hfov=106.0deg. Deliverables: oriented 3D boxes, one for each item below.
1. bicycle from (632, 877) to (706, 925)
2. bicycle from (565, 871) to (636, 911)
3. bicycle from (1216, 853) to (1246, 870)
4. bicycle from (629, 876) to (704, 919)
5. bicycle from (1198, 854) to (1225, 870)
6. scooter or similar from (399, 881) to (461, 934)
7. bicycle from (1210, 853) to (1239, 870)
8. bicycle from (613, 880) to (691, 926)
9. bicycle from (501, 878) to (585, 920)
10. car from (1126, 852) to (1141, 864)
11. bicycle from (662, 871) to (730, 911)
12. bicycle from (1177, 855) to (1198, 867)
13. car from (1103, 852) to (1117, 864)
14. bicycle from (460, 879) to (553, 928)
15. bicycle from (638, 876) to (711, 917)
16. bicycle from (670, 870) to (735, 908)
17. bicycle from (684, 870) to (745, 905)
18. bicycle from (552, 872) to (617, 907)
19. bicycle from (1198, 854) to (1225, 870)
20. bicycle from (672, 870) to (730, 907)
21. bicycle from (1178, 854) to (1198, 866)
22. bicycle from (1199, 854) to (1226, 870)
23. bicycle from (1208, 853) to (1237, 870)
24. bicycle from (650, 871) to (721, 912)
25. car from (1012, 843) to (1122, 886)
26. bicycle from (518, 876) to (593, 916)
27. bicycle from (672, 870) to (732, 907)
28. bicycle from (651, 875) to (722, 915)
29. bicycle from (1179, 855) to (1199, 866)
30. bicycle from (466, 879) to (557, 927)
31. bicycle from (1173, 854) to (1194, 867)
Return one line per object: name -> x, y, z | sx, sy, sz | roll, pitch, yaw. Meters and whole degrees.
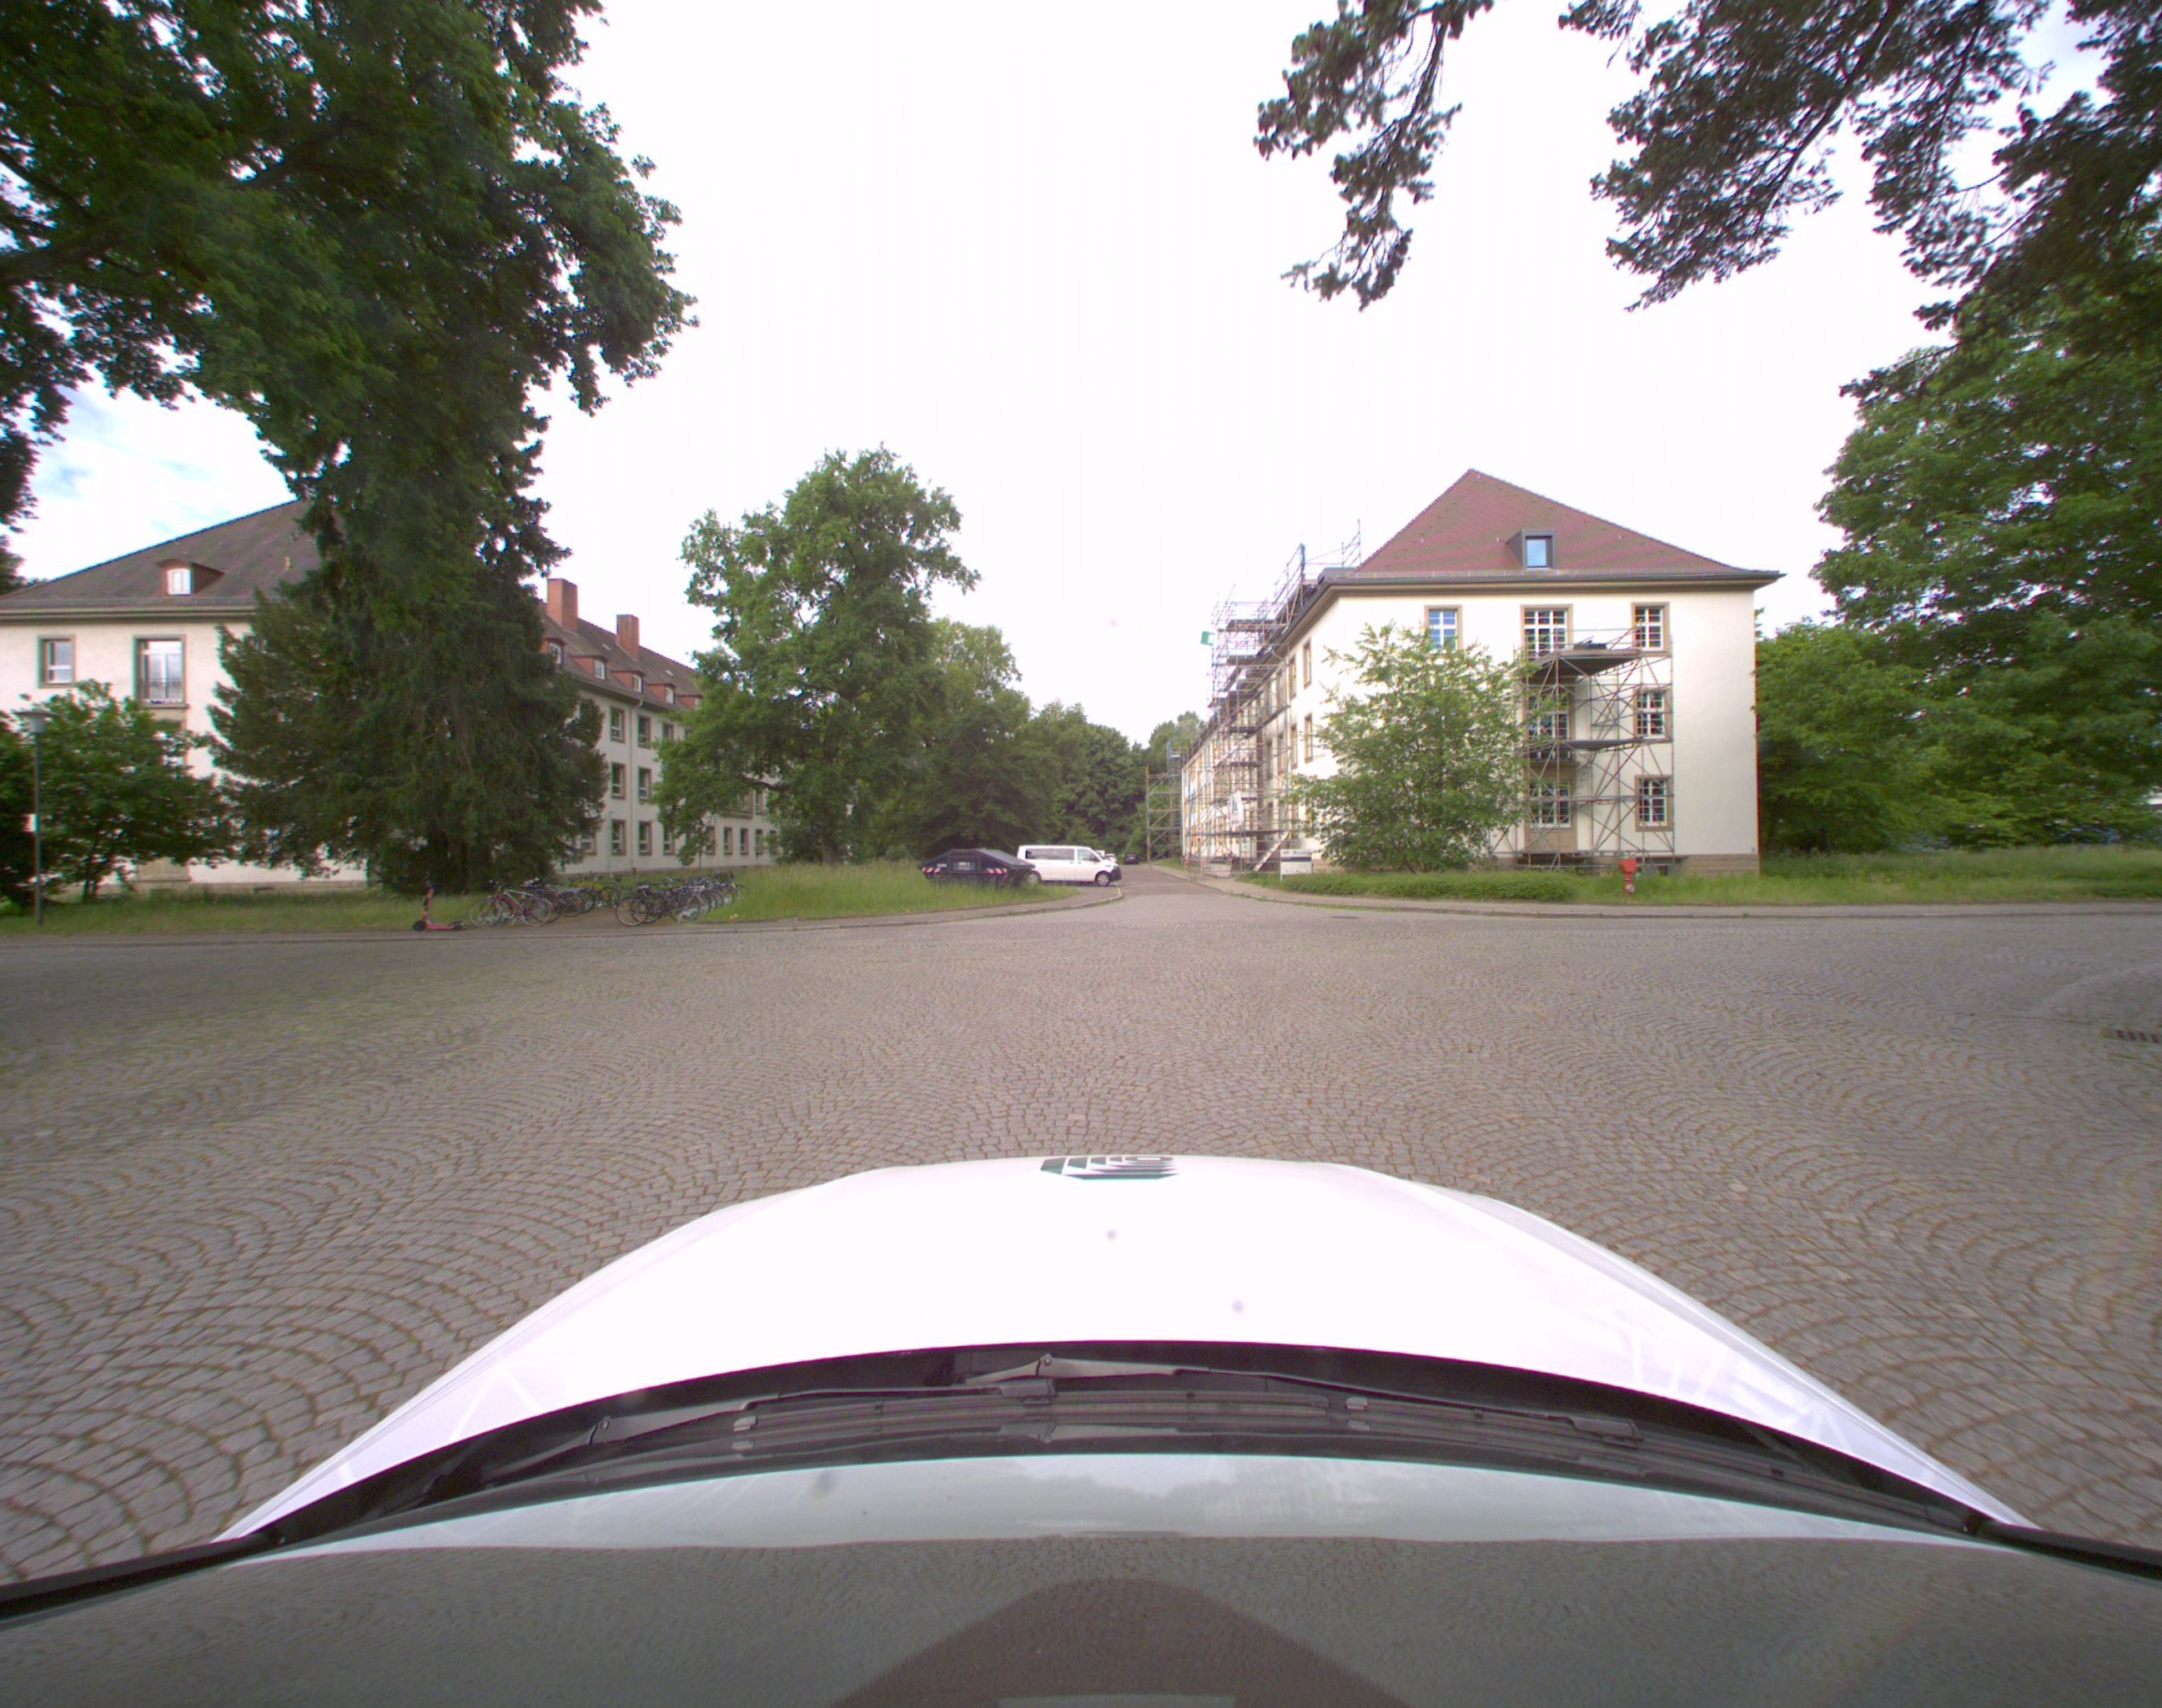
bicycle -> -10.367, 1.162, 20.512 | 1.627, 1.074, 0.473 | -2, 0, -30
bicycle -> -14.539, 1.108, 24.676 | 1.747, 1.171, 0.550 | -1, 0, -8
bicycle -> 9.668, 0.492, 52.523 | 1.845, 1.095, 0.512 | -1, 0, 8
bicycle -> -10.862, 1.132, 21.389 | 1.665, 1.008, 0.475 | -2, 0, -16
bicycle -> 9.285, 0.538, 58.059 | 1.845, 1.095, 0.512 | -1, 0, 8
scooter or similar -> -15.461, 1.262, 19.351 | 1.131, 1.210, 0.357 | -1, -1, -3
bicycle -> 9.364, 0.498, 53.074 | 1.845, 1.095, 0.512 | -1, 0, 8
bicycle -> -10.412, 1.180, 19.803 | 1.627, 1.008, 0.473 | -2, 0, -30
bicycle -> -14.703, 1.218, 22.314 | 1.828, 1.065, 0.613 | -1, 0, -25
car -> 6.602, 0.492, 103.339 | 1.574, 1.371, 3.951 | -1, 0, -1
bicycle -> -11.405, 1.074, 24.173 | 1.766, 1.112, 0.474 | -1, -1, -21
bicycle -> 9.999, 0.613, 76.536 | 1.839, 1.095, 0.514 | -1, -1, 23
car -> 3.652, 0.498, 102.970 | 1.574, 1.339, 3.951 | -1, 0, -1
bicycle -> -14.213, 1.217, 20.182 | 1.768, 1.114, 0.548 | -1, 0, -17
bicycle -> -10.953, 1.138, 22.003 | 1.665, 1.008, 0.475 | -2, 0, -16
bicycle -> -11.794, 1.087, 25.418 | 1.763, 1.112, 0.475 | -1, -1, -16
bicycle -> -12.102, 1.101, 26.909 | 1.763, 1.112, 0.475 | -1, -1, -16
bicycle -> -15.919, 1.136, 26.137 | 1.680, 1.042, 0.549 | -1, 0, -14
bicycle -> 9.212, 0.535, 57.611 | 1.845, 1.095, 0.512 | -1, 0, 8
bicycle -> -12.264, 1.104, 26.310 | 1.646, 1.112, 0.441 | -1, -1, -10
bicycle -> 10.235, 0.564, 77.909 | 1.845, 1.095, 0.512 | -1, 0, 8
bicycle -> 9.228, 0.532, 57.094 | 1.845, 1.095, 0.512 | -1, 0, 8
bicycle -> 9.496, 0.510, 54.667 | 1.845, 1.095, 0.512 | -1, 0, 8
bicycle -> -11.462, 1.070, 23.638 | 1.763, 1.112, 0.475 | -1, -1, -16
car -> -0.649, 0.497, 40.103 | 5.241, 1.996, 1.969 | -1, 0, 0
bicycle -> -15.191, 1.202, 23.594 | 1.757, 1.065, 0.547 | -1, 0, -25
bicycle -> -12.012, 1.098, 25.817 | 1.646, 1.112, 0.441 | -1, -1, -10
bicycle -> -11.015, 1.144, 22.777 | 1.665, 1.008, 0.475 | -2, 0, -16
bicycle -> 10.455, 0.627, 78.698 | 1.845, 1.095, 0.512 | -1, 0, 8
bicycle -> -14.404, 1.222, 20.636 | 1.803, 1.114, 0.548 | -1, 0, -17
bicycle -> 9.404, 0.601, 74.677 | 1.839, 1.095, 0.514 | -1, -1, 23
